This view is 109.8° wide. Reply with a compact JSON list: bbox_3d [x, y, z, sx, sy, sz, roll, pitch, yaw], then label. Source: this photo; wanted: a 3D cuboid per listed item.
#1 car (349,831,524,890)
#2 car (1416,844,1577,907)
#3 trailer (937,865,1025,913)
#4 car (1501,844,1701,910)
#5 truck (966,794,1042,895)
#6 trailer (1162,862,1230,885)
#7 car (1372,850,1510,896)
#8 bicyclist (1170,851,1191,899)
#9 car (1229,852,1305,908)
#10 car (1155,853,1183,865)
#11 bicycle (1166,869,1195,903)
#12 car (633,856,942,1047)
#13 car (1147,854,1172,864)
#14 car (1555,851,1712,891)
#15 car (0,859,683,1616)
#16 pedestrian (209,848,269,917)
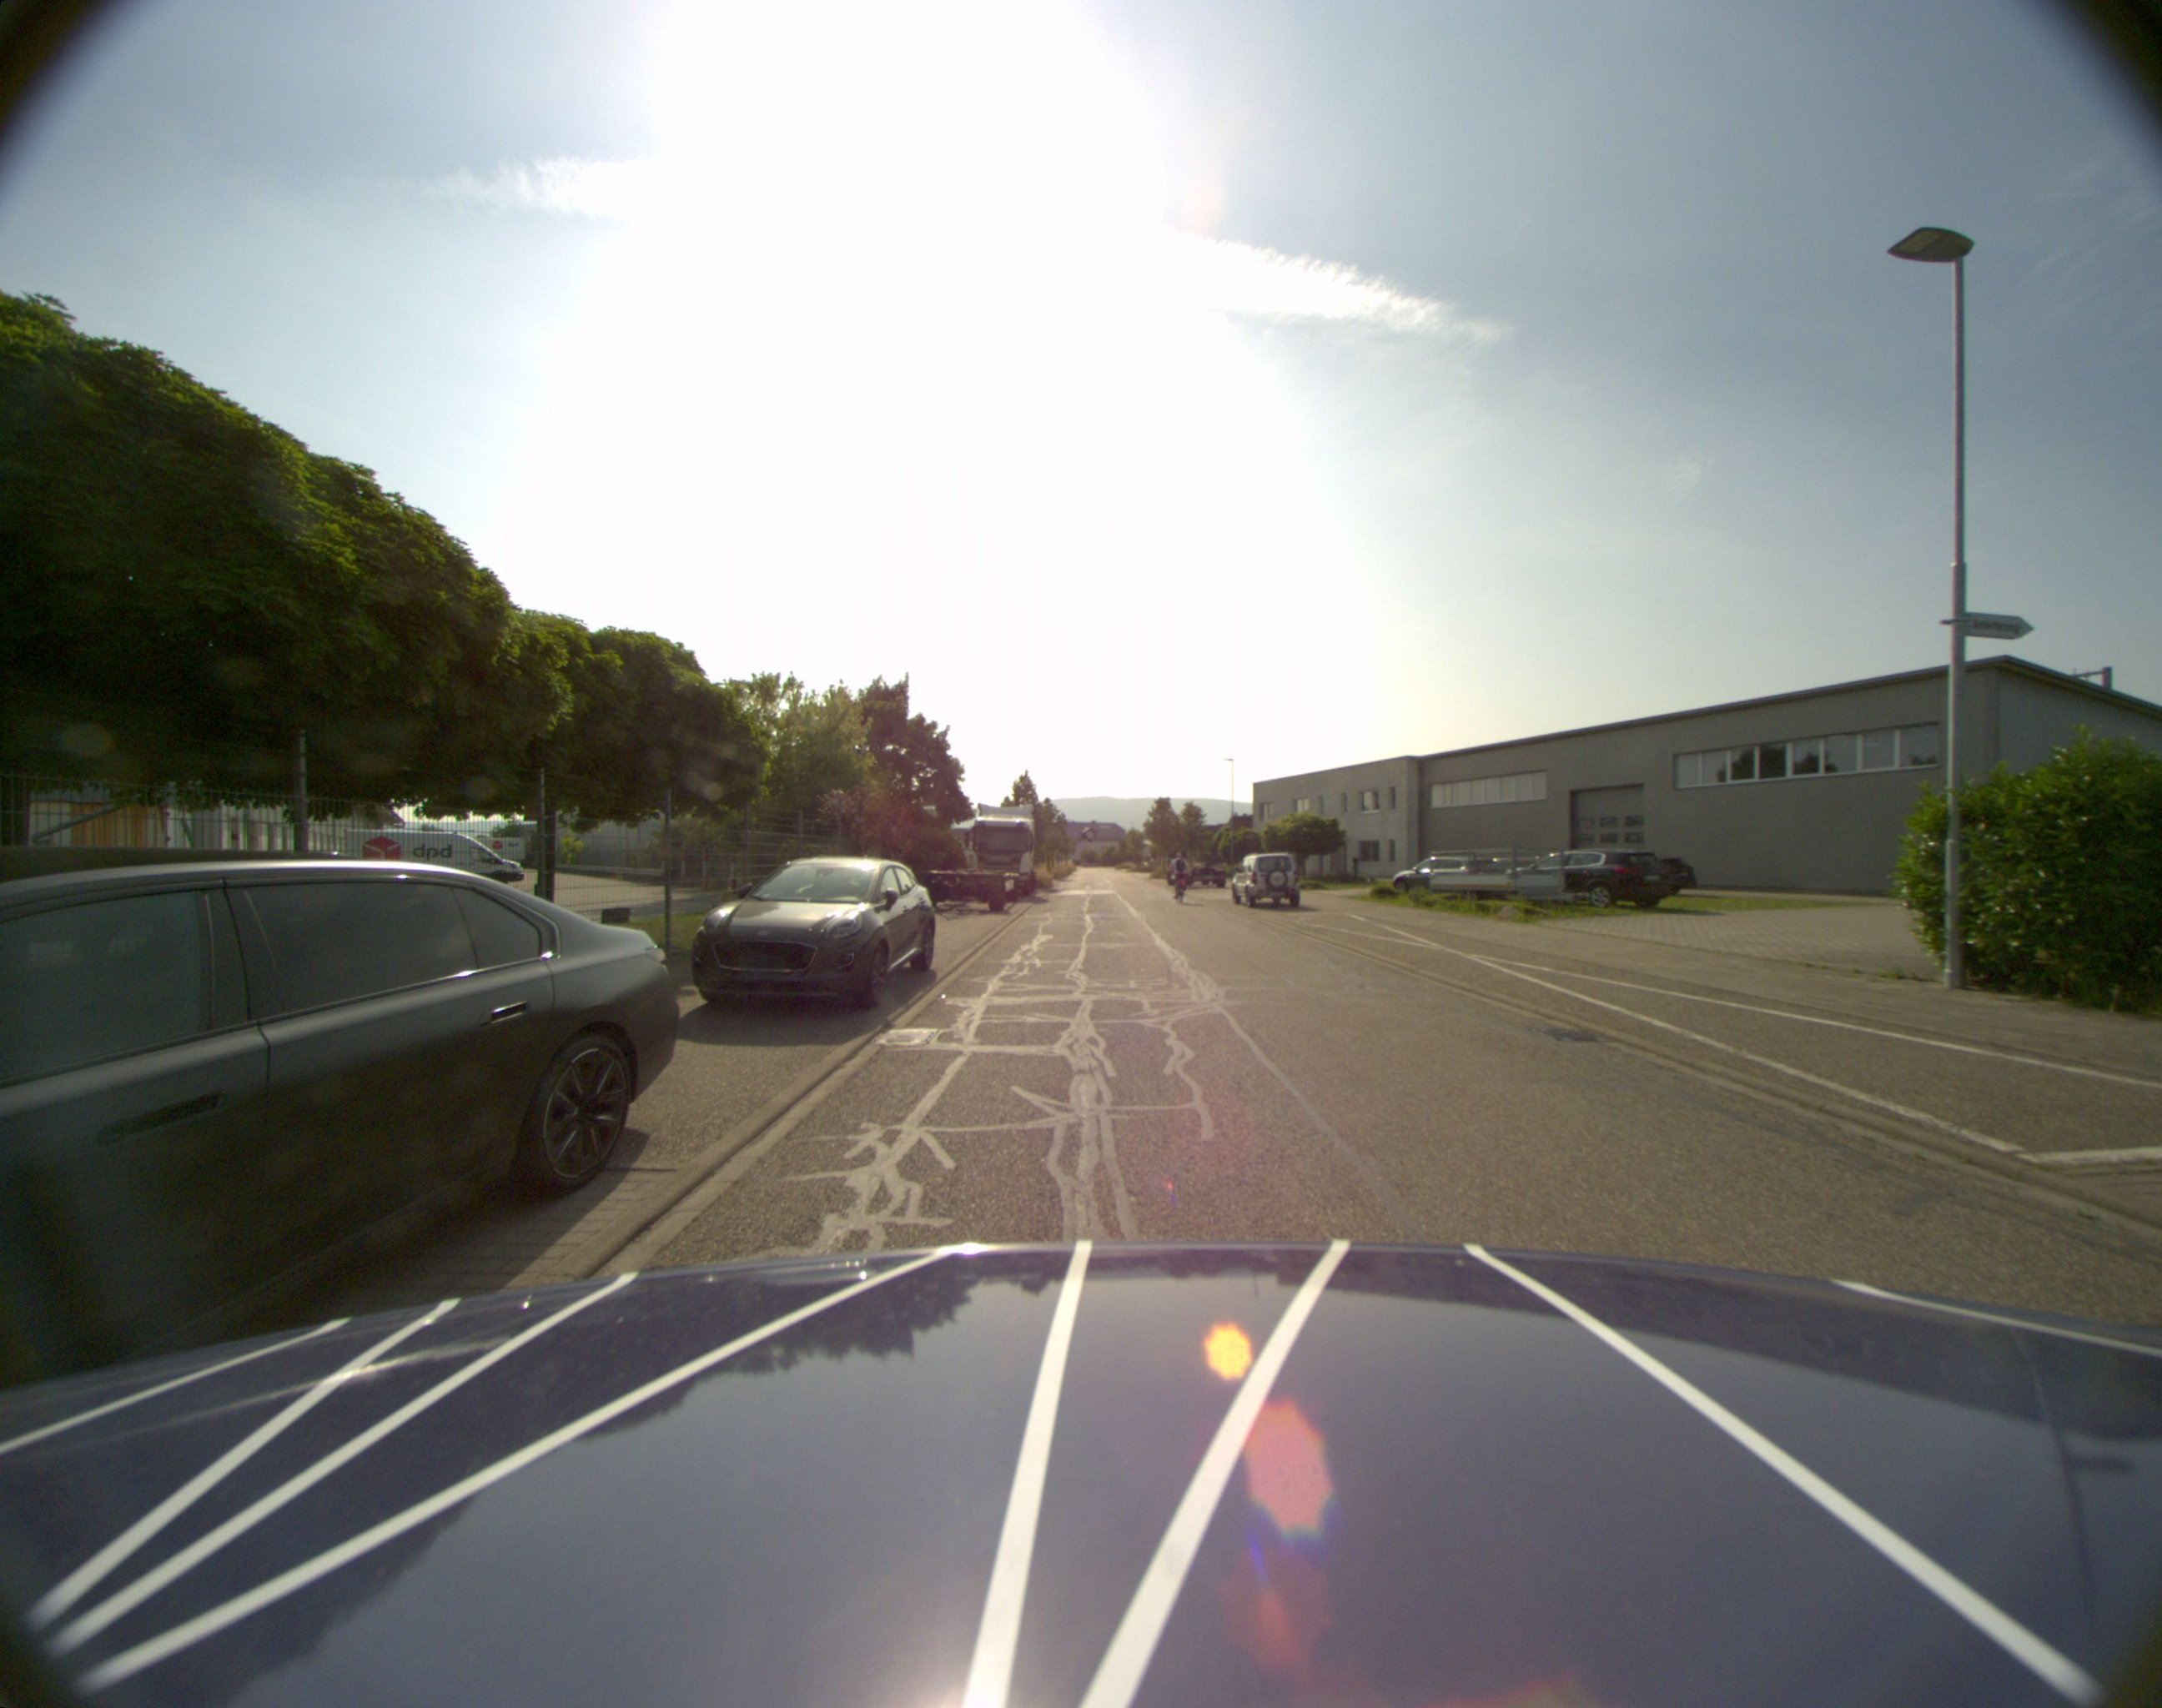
[{"bbox_3d":[-30.868,0.275,36.671,6.286,2.633,2.206,0,0,-41],"label":"car"},{"bbox_3d":[11.685,0.571,21.679,1.840,1.563,3.811,-2,0,-16],"label":"car"},{"bbox_3d":[-3.096,1.035,25.221,1.943,1.228,7.450,1,0,0],"label":"trailer"},{"bbox_3d":[14.584,0.581,21.652,1.997,1.648,4.415,-1,0,-17],"label":"car"},{"bbox_3d":[-3.195,-0.371,33.167,2.699,3.941,6.047,2,0,-1],"label":"truck"},{"bbox_3d":[6.468,1.049,44.074,2.552,1.068,9.732,-2,0,1],"label":"trailer"},{"bbox_3d":[12.704,0.626,27.161,1.983,1.468,4.415,-1,0,-17],"label":"car"},{"bbox_3d":[3.567,0.735,27.325,0.641,1.709,1.165,0,0,1],"label":"bicyclist"},{"bbox_3d":[5.985,0.795,24.840,1.601,1.641,3.644,-1,0,1],"label":"car"},{"bbox_3d":[13.239,0.782,114.202,3.996,1.718,2.000,0,0,1],"label":"car"},{"bbox_3d":[3.554,1.121,27.308,0.717,1.115,2.219,2,0,1],"label":"bicycle"},{"bbox_3d":[-2.980,0.874,8.789,1.885,1.565,4.113,2,1,1],"label":"car"},{"bbox_3d":[14.141,0.841,137.167,4.004,1.783,1.996,0,0,-21],"label":"car"},{"bbox_3d":[20.255,0.586,28.118,1.997,1.317,4.344,-1,0,-19],"label":"car"},{"bbox_3d":[-3.278,0.857,1.806,1.885,1.565,5.118,1,1,1],"label":"car"},{"bbox_3d":[-21.245,0.707,19.186,0.860,1.712,0.630,0,0,-31],"label":"pedestrian"}]
